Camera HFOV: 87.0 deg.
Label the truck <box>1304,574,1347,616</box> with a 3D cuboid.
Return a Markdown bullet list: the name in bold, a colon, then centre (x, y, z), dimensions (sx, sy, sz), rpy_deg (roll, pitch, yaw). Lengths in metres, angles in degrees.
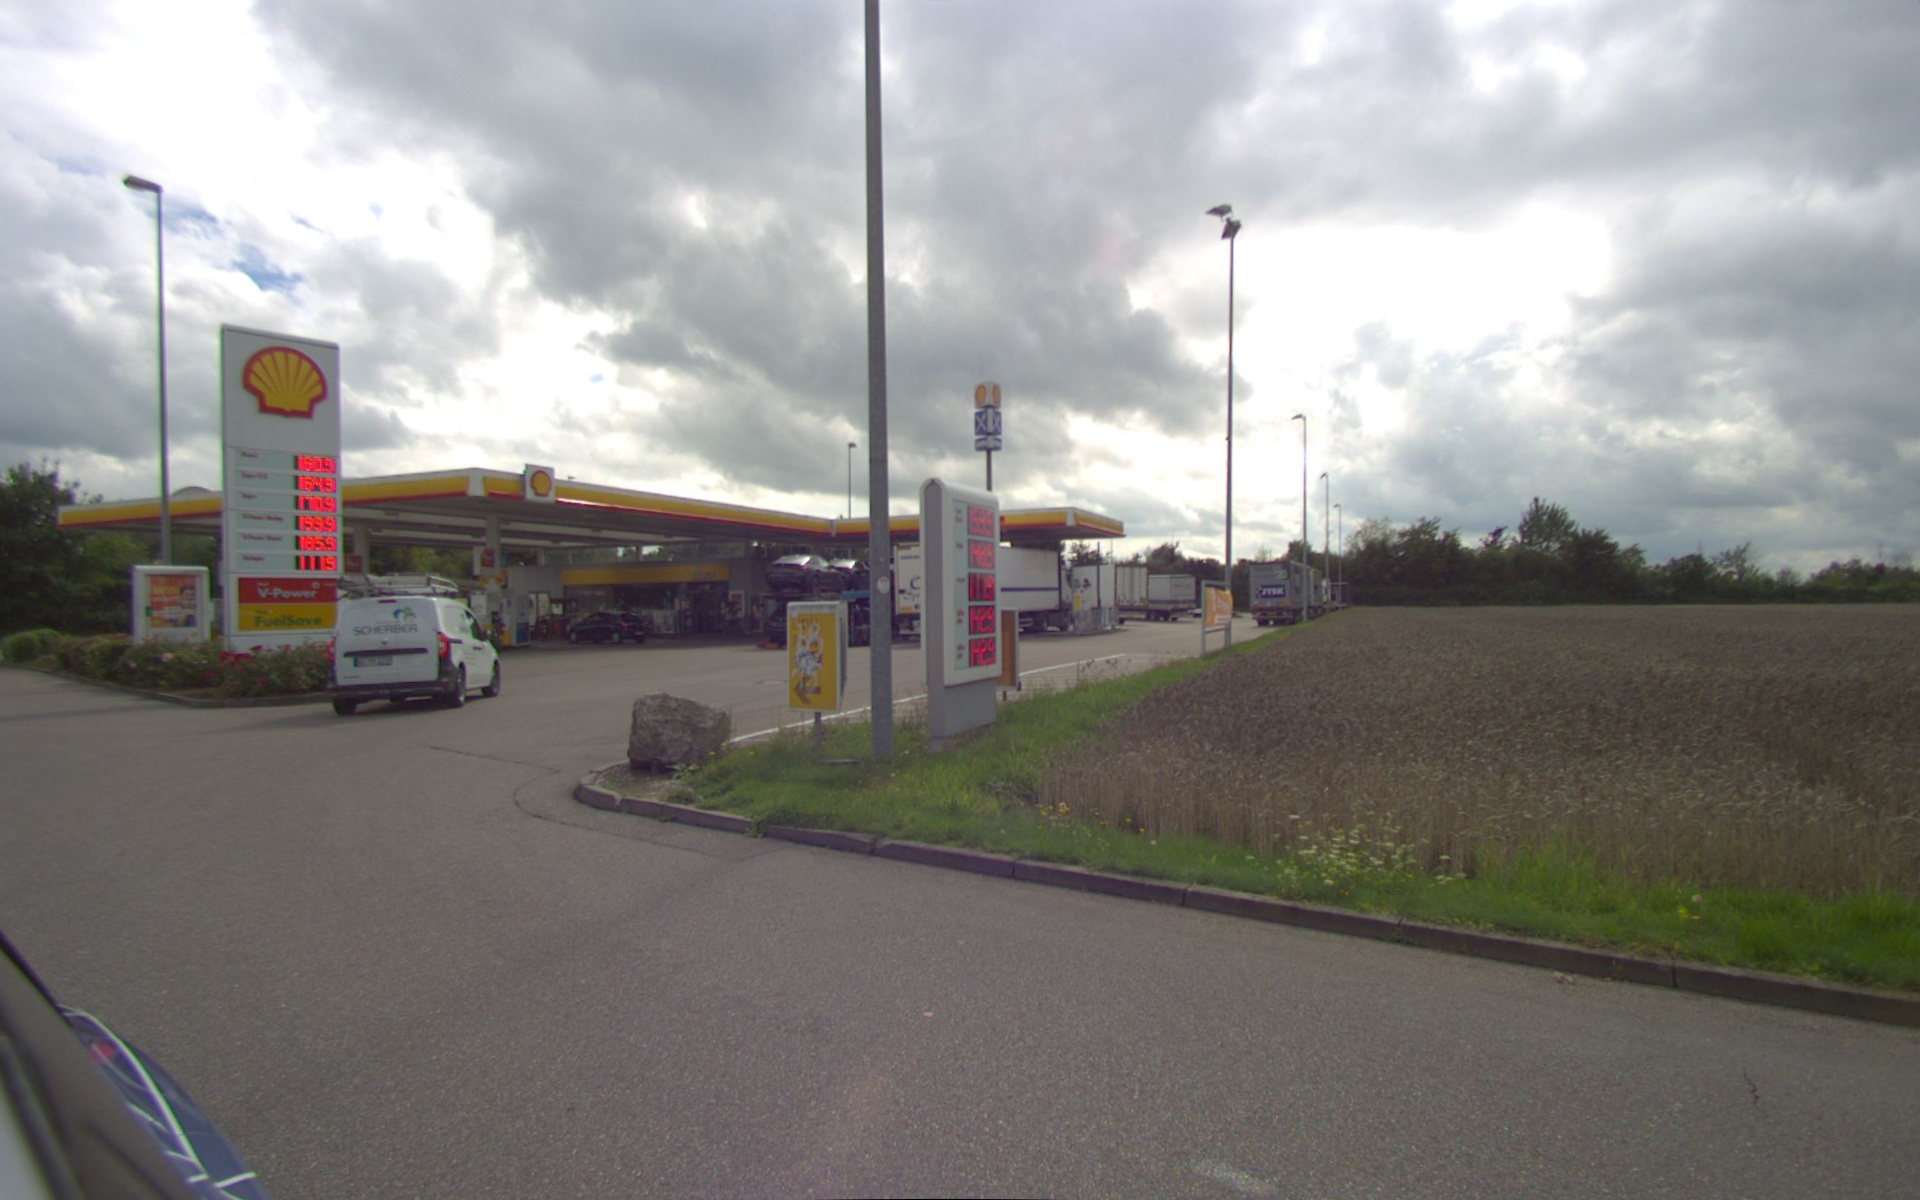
- **truck**: centre (36.696, -0.457, 101.261), dimensions (2.809, 3.923, 12.698), rpy_deg (0, 0, 25)

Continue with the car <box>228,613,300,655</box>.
- **car**: centre (-28.374, 1.368, 41.347), dimensions (1.819, 1.586, 4.013), rpy_deg (-1, -1, -26)

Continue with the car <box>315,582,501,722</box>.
- **car**: centre (-9.037, 0.803, 16.914), dimensions (1.766, 2.027, 3.891), rpy_deg (-1, -1, -14)

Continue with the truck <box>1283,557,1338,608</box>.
- **truck**: centre (29.850, -1.342, 85.706), dimensions (2.809, 3.923, 15.328), rpy_deg (0, 0, 25)

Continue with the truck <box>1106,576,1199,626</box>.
- **truck**: centre (17.158, 0.152, 91.319), dimensions (2.943, 4.142, 11.610), rpy_deg (-1, -1, -18)

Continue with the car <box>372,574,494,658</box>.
- **car**: centre (-19.178, 0.575, 37.176), dimensions (2.189, 2.808, 5.819), rpy_deg (-1, -1, -9)

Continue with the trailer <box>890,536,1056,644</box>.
- **trailer**: centre (0.991, -0.342, 44.816), dimensions (2.695, 4.055, 12.748), rpy_deg (-2, -1, 23)

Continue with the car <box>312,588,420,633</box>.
- **car**: centre (-22.548, 0.402, 38.601), dimensions (1.970, 1.571, 3.965), rpy_deg (-1, -1, -4)

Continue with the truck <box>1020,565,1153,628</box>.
- **truck**: centre (8.887, -0.208, 74.497), dimensions (2.912, 4.143, 14.797), rpy_deg (0, 0, -22)

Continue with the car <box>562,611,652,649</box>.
- **car**: centre (-15.924, 1.336, 45.645), dimensions (3.740, 1.613, 1.702), rpy_deg (-2, -1, 26)

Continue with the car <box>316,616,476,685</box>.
- **car**: centre (-13.800, 1.226, 24.757), dimensions (3.700, 1.559, 1.566), rpy_deg (-2, -1, 25)

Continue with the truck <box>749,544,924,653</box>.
- **truck**: centre (-4.778, -0.034, 43.395), dimensions (2.727, 3.953, 13.192), rpy_deg (0, 0, 15)

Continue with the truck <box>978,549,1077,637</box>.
- **truck**: centre (3.503, -0.311, 50.654), dimensions (2.695, 4.055, 7.113), rpy_deg (-2, -1, 23)

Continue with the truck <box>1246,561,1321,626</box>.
- **truck**: centre (22.197, -0.392, 68.689), dimensions (2.809, 3.923, 15.328), rpy_deg (0, 0, 25)
